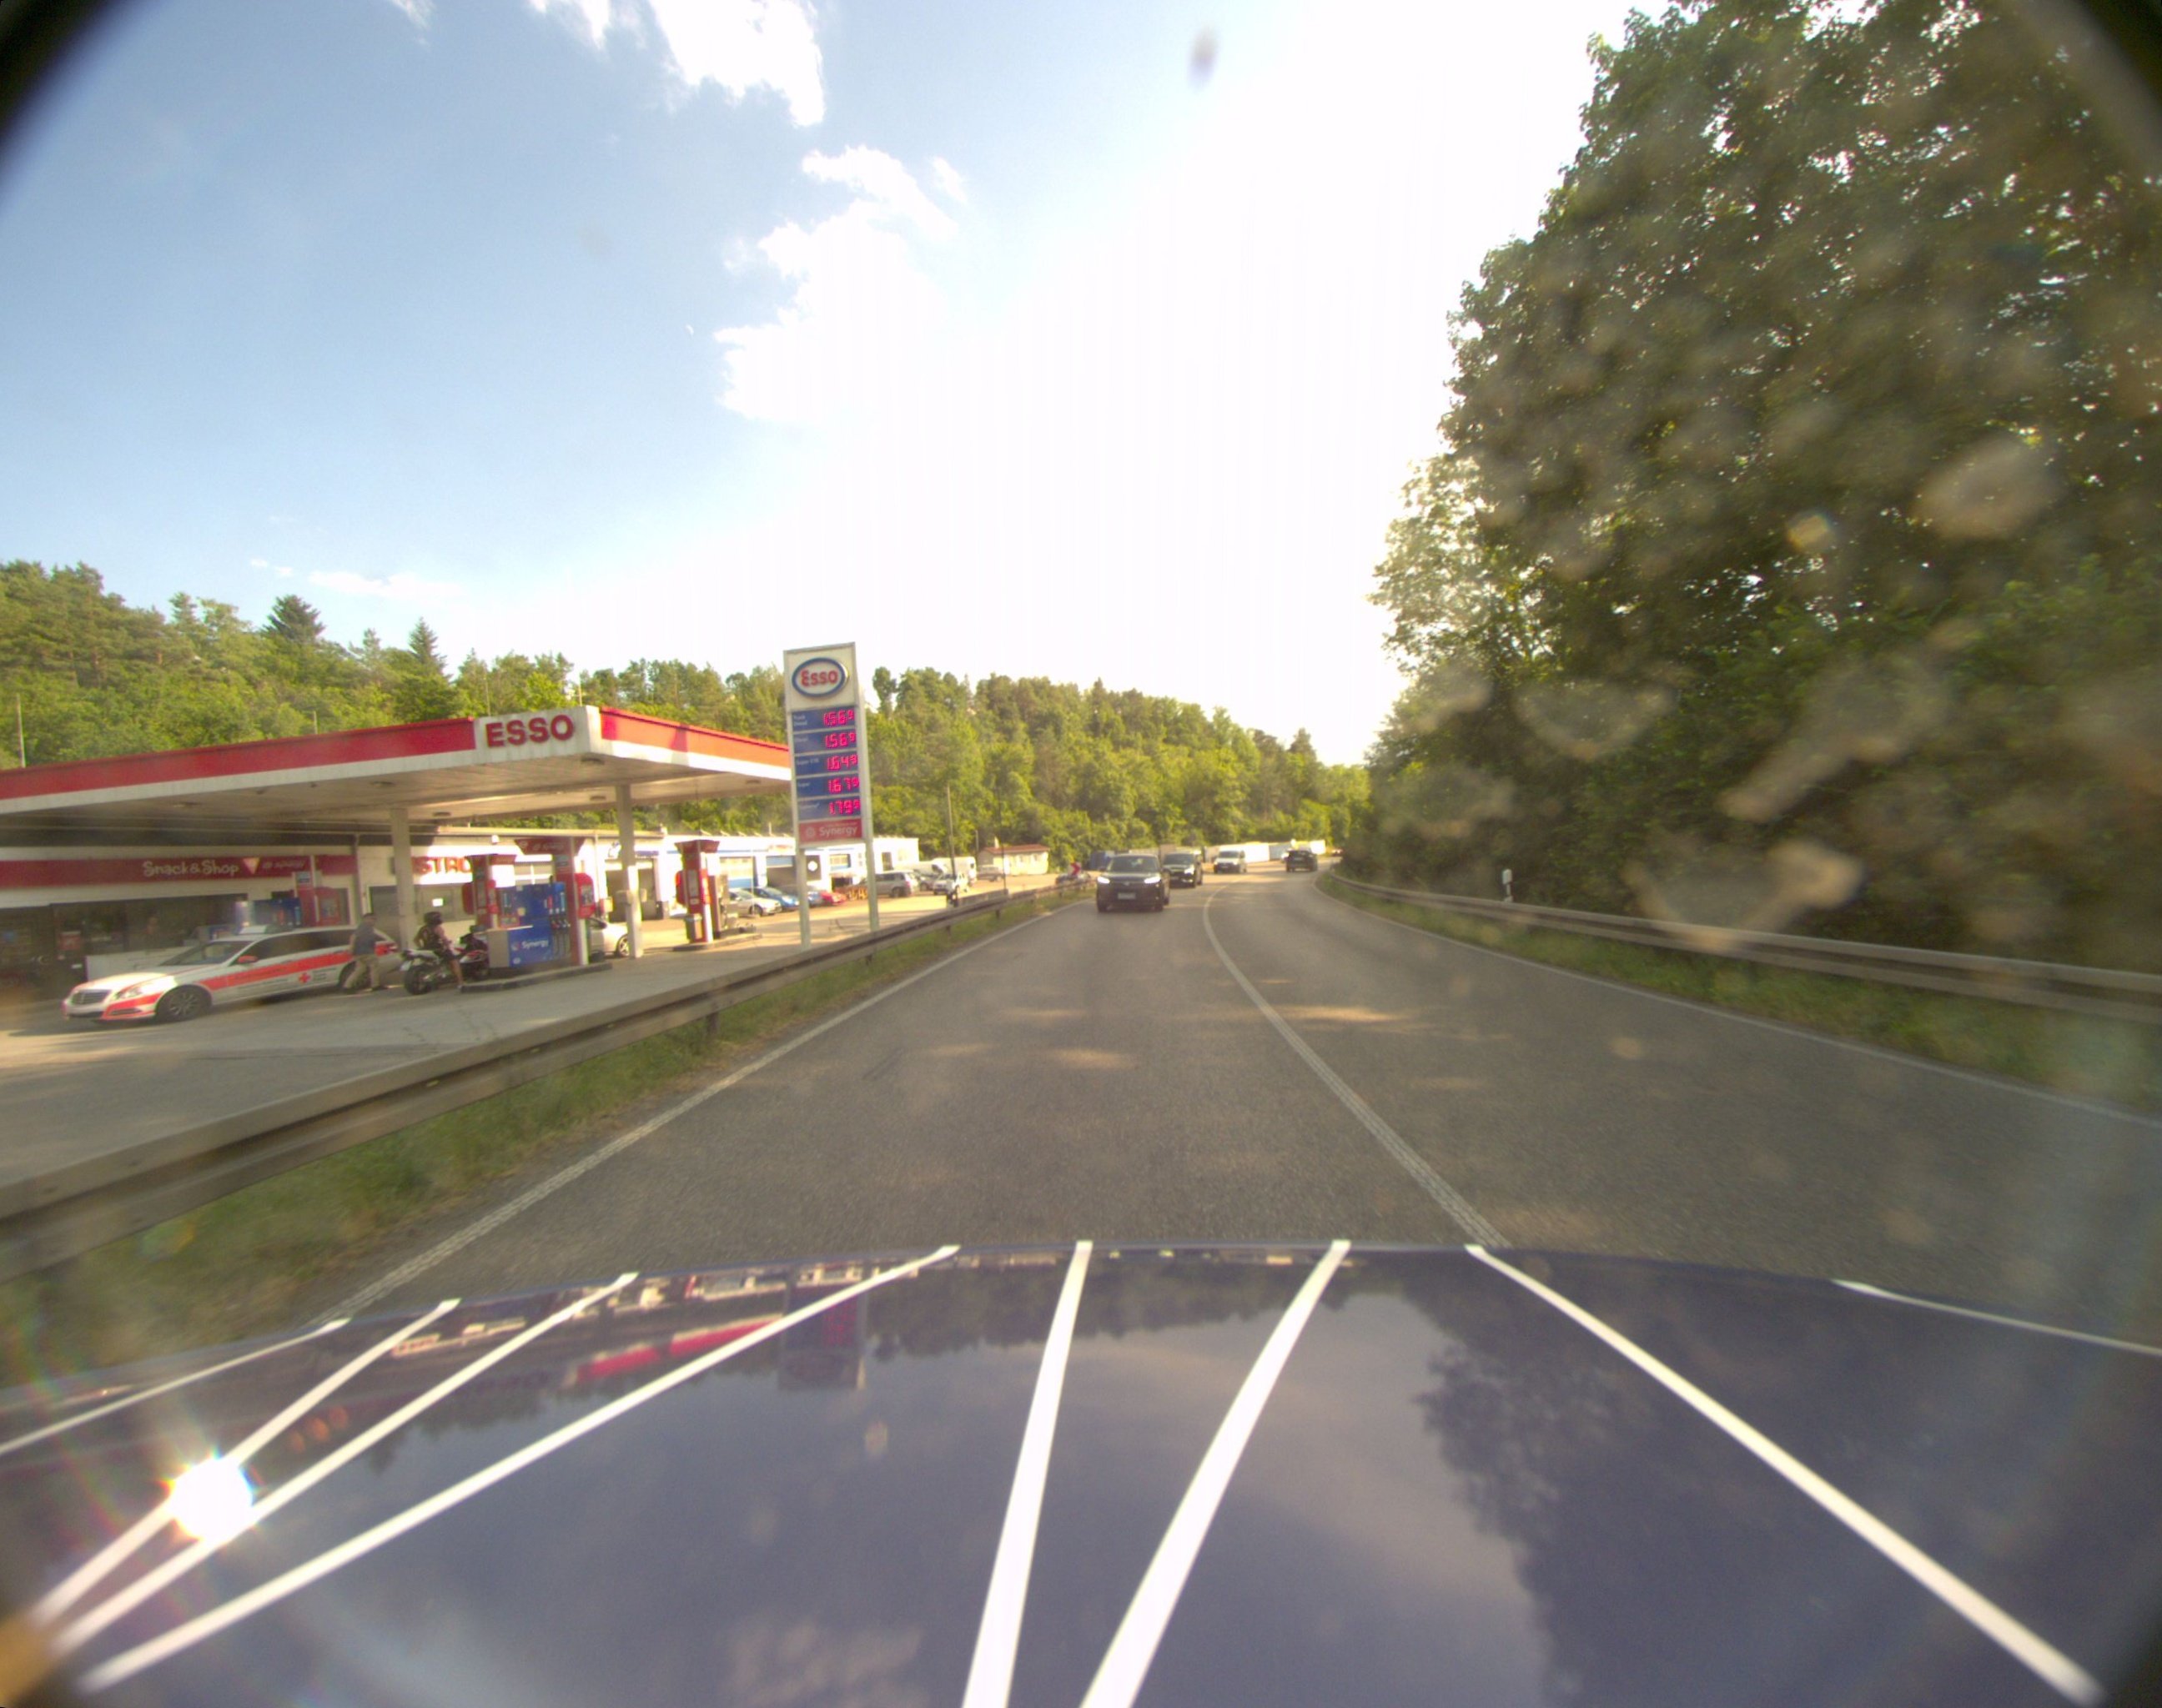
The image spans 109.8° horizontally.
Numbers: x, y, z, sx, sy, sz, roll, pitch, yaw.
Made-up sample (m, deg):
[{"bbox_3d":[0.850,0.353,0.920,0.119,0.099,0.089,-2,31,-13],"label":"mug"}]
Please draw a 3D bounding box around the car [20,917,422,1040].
[{"bbox_3d":[-17.335,2.411,15.881,2.096,1.618,5.183,-3,0,9],"label":"car"}]

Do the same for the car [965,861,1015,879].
[{"bbox_3d":[-8.899,1.588,74.380,4.412,1.660,1.938,-1,-1,-31],"label":"car"}]

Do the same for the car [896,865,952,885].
[{"bbox_3d":[-13.262,1.783,64.134,4.166,1.601,1.926,-1,1,9],"label":"car"}]

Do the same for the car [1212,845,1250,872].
[{"bbox_3d":[10.809,0.291,54.469,1.865,1.710,4.769,-1,1,20],"label":"car"}]

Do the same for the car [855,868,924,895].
[{"bbox_3d":[-13.387,1.895,53.206,4.256,1.719,1.893,-1,1,7],"label":"car"}]

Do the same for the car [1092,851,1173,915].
[{"bbox_3d":[1.616,0.770,22.299,1.858,1.630,4.444,-1,1,10],"label":"car"}]

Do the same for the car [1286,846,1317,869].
[{"bbox_3d":[16.265,0.272,55.977,1.869,1.643,4.556,-1,0,20],"label":"car"}]

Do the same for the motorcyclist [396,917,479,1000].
[{"bbox_3d":[-13.612,2.189,16.097,0.860,1.595,0.928,-4,1,9],"label":"motorcyclist"}]

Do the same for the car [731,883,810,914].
[{"bbox_3d":[-16.846,2.399,41.268,3.556,1.398,1.692,-3,0,9],"label":"car"}]

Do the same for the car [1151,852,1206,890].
[{"bbox_3d":[4.596,0.749,35.433,1.846,1.561,4.261,-1,1,16],"label":"car"}]

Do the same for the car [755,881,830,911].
[{"bbox_3d":[-16.485,2.371,43.468,3.550,1.437,1.735,-3,0,9],"label":"car"}]

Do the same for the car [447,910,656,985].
[{"bbox_3d":[-13.590,2.346,19.890,1.846,1.311,4.392,-3,0,10],"label":"car"}]

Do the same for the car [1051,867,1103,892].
[{"bbox_3d":[-0.182,1.552,47.385,1.826,1.345,4.278,-3,0,19],"label":"car"}]

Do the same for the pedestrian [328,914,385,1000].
[{"bbox_3d":[-15.736,2.219,16.505,0.703,1.766,0.620,-4,1,31],"label":"pedestrian"}]

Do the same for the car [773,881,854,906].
[{"bbox_3d":[-16.005,2.362,45.546,4.074,1.340,1.896,-2,1,9],"label":"car"}]

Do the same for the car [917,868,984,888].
[{"bbox_3d":[-10.160,1.851,59.141,4.728,1.425,1.958,-1,1,7],"label":"car"}]

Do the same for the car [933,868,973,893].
[{"bbox_3d":[-9.059,1.841,54.103,1.794,1.587,3.990,-1,1,6],"label":"car"}]

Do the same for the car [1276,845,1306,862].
[{"bbox_3d":[21.356,-0.097,77.139,1.893,1.437,4.483,-4,0,28],"label":"car"}]

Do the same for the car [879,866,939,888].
[{"bbox_3d":[-13.952,1.868,61.757,4.248,1.601,1.896,-2,1,9],"label":"car"}]

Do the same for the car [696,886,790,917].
[{"bbox_3d":[-17.242,2.415,38.853,3.965,1.347,1.777,-2,1,5],"label":"car"}]

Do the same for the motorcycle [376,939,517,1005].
[{"bbox_3d":[-13.547,2.490,16.337,0.763,1.006,2.342,-3,0,9],"label":"motorcycle"}]

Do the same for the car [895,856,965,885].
[{"bbox_3d":[-13.166,1.422,66.454,5.483,2.261,2.297,-2,1,9],"label":"car"}]

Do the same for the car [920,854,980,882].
[{"bbox_3d":[-12.031,1.284,70.133,4.917,2.435,2.209,-2,1,7],"label":"car"}]

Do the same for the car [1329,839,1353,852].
[{"bbox_3d":[33.196,-1.150,96.859,1.856,1.412,4.426,-4,0,32],"label":"car"}]
